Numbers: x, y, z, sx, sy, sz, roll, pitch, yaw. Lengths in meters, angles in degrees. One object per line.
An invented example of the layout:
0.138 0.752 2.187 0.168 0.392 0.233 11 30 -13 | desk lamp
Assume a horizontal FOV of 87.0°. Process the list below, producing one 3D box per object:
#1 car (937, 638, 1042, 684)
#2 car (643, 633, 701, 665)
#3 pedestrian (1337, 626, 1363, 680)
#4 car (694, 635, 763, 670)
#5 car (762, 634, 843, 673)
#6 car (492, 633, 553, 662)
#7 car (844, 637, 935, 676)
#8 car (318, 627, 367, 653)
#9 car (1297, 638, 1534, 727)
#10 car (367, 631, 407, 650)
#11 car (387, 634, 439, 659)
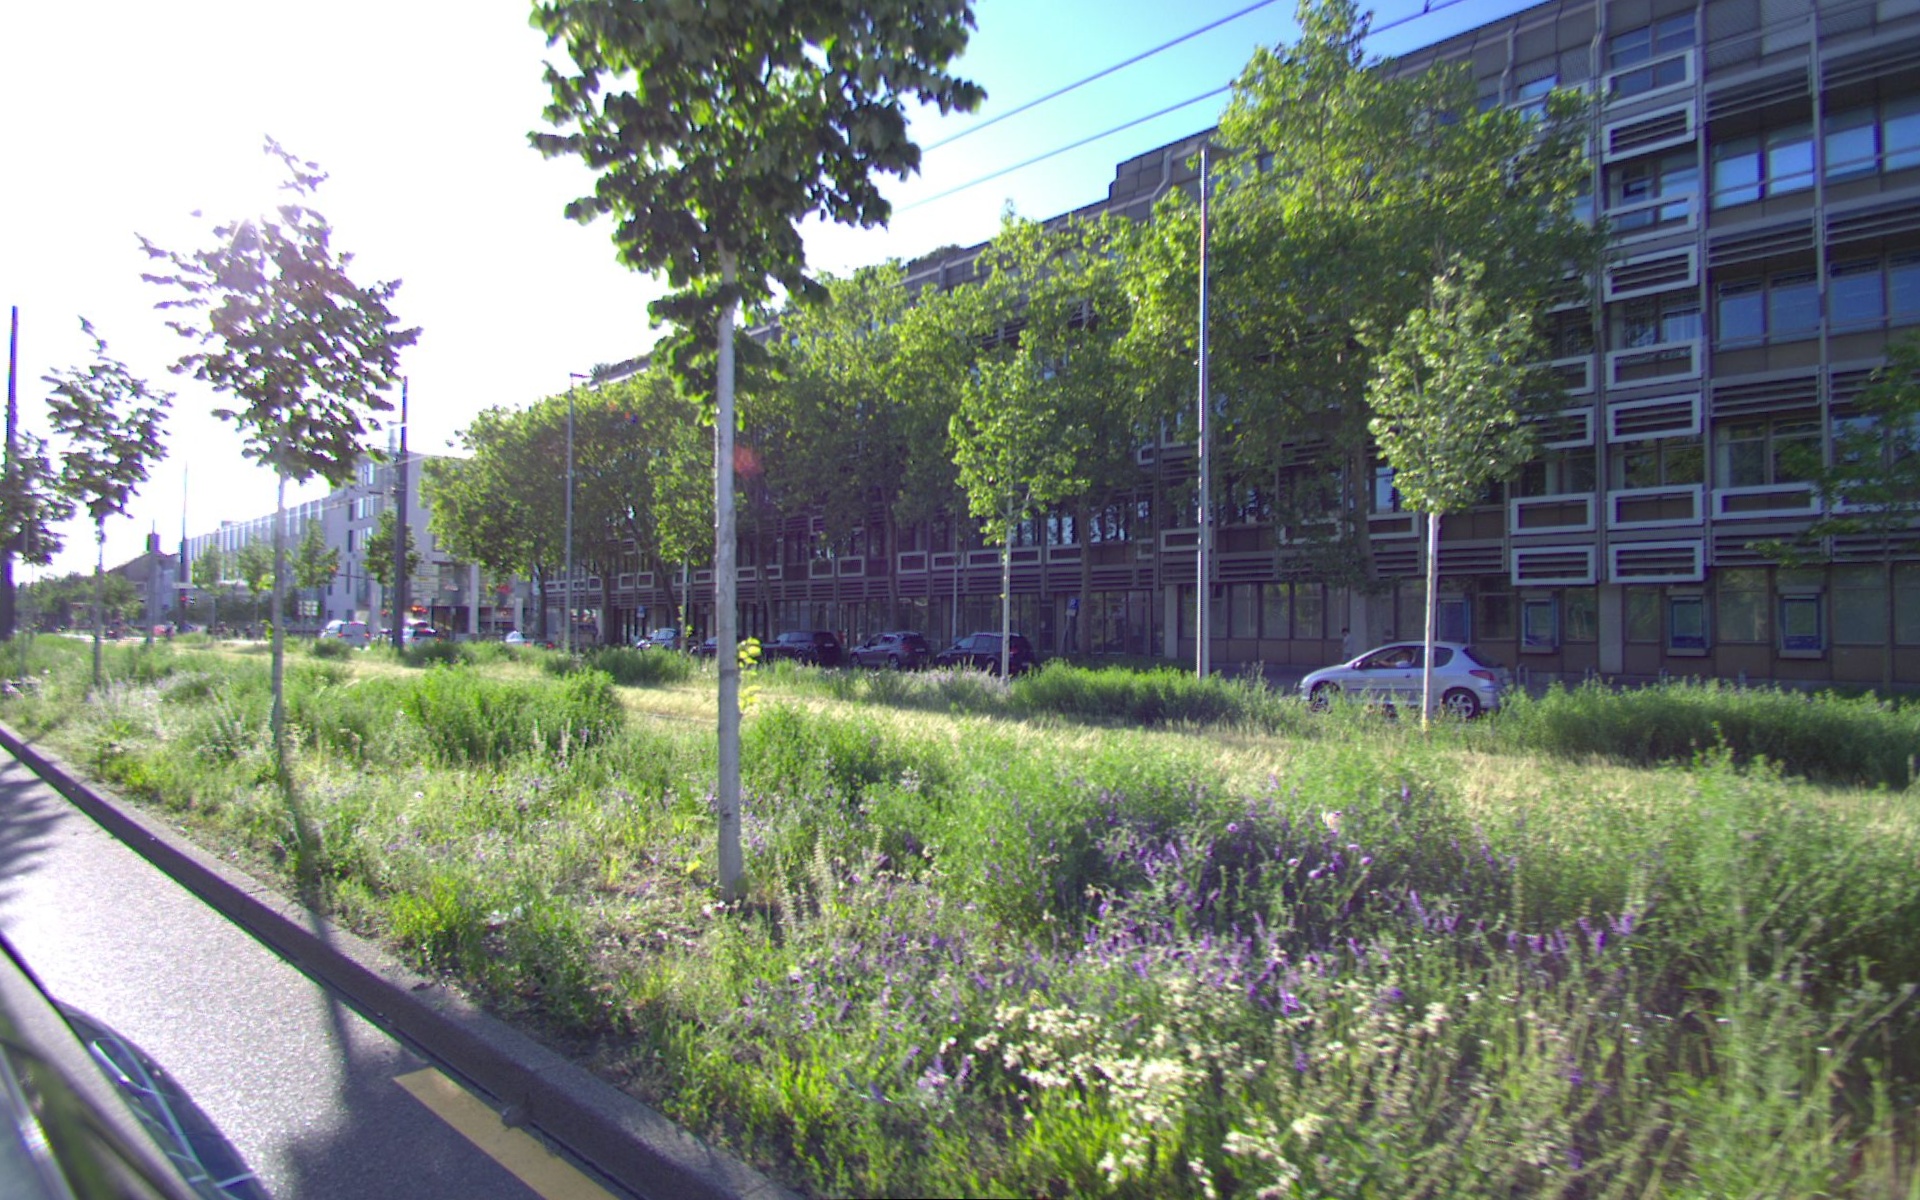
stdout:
1.062 2.206 37.572 3.629 1.555 1.704 -1 -1 41 | car
-15.208 2.564 53.417 3.265 1.614 1.372 -1 -1 41 | car
12.810 1.741 33.250 0.639 1.763 0.477 -2 -3 43 | pedestrian
-11.342 2.542 49.480 3.525 1.614 1.491 -1 -1 41 | car
-7.129 2.371 45.740 3.629 1.614 1.704 -1 -1 41 | car
-23.630 2.565 54.619 3.780 1.507 1.610 -2 -3 43 | car
-2.951 2.297 41.951 3.629 1.497 1.704 -1 -1 41 | car
-41.784 2.711 68.488 3.780 1.694 1.840 -2 -3 43 | car
8.532 1.483 19.137 3.780 1.507 1.610 -2 -3 43 | car
-40.764 2.871 71.954 3.304 1.361 1.514 -2 -3 43 | car
-31.518 2.664 58.286 3.780 1.390 1.534 -2 -3 43 | car
